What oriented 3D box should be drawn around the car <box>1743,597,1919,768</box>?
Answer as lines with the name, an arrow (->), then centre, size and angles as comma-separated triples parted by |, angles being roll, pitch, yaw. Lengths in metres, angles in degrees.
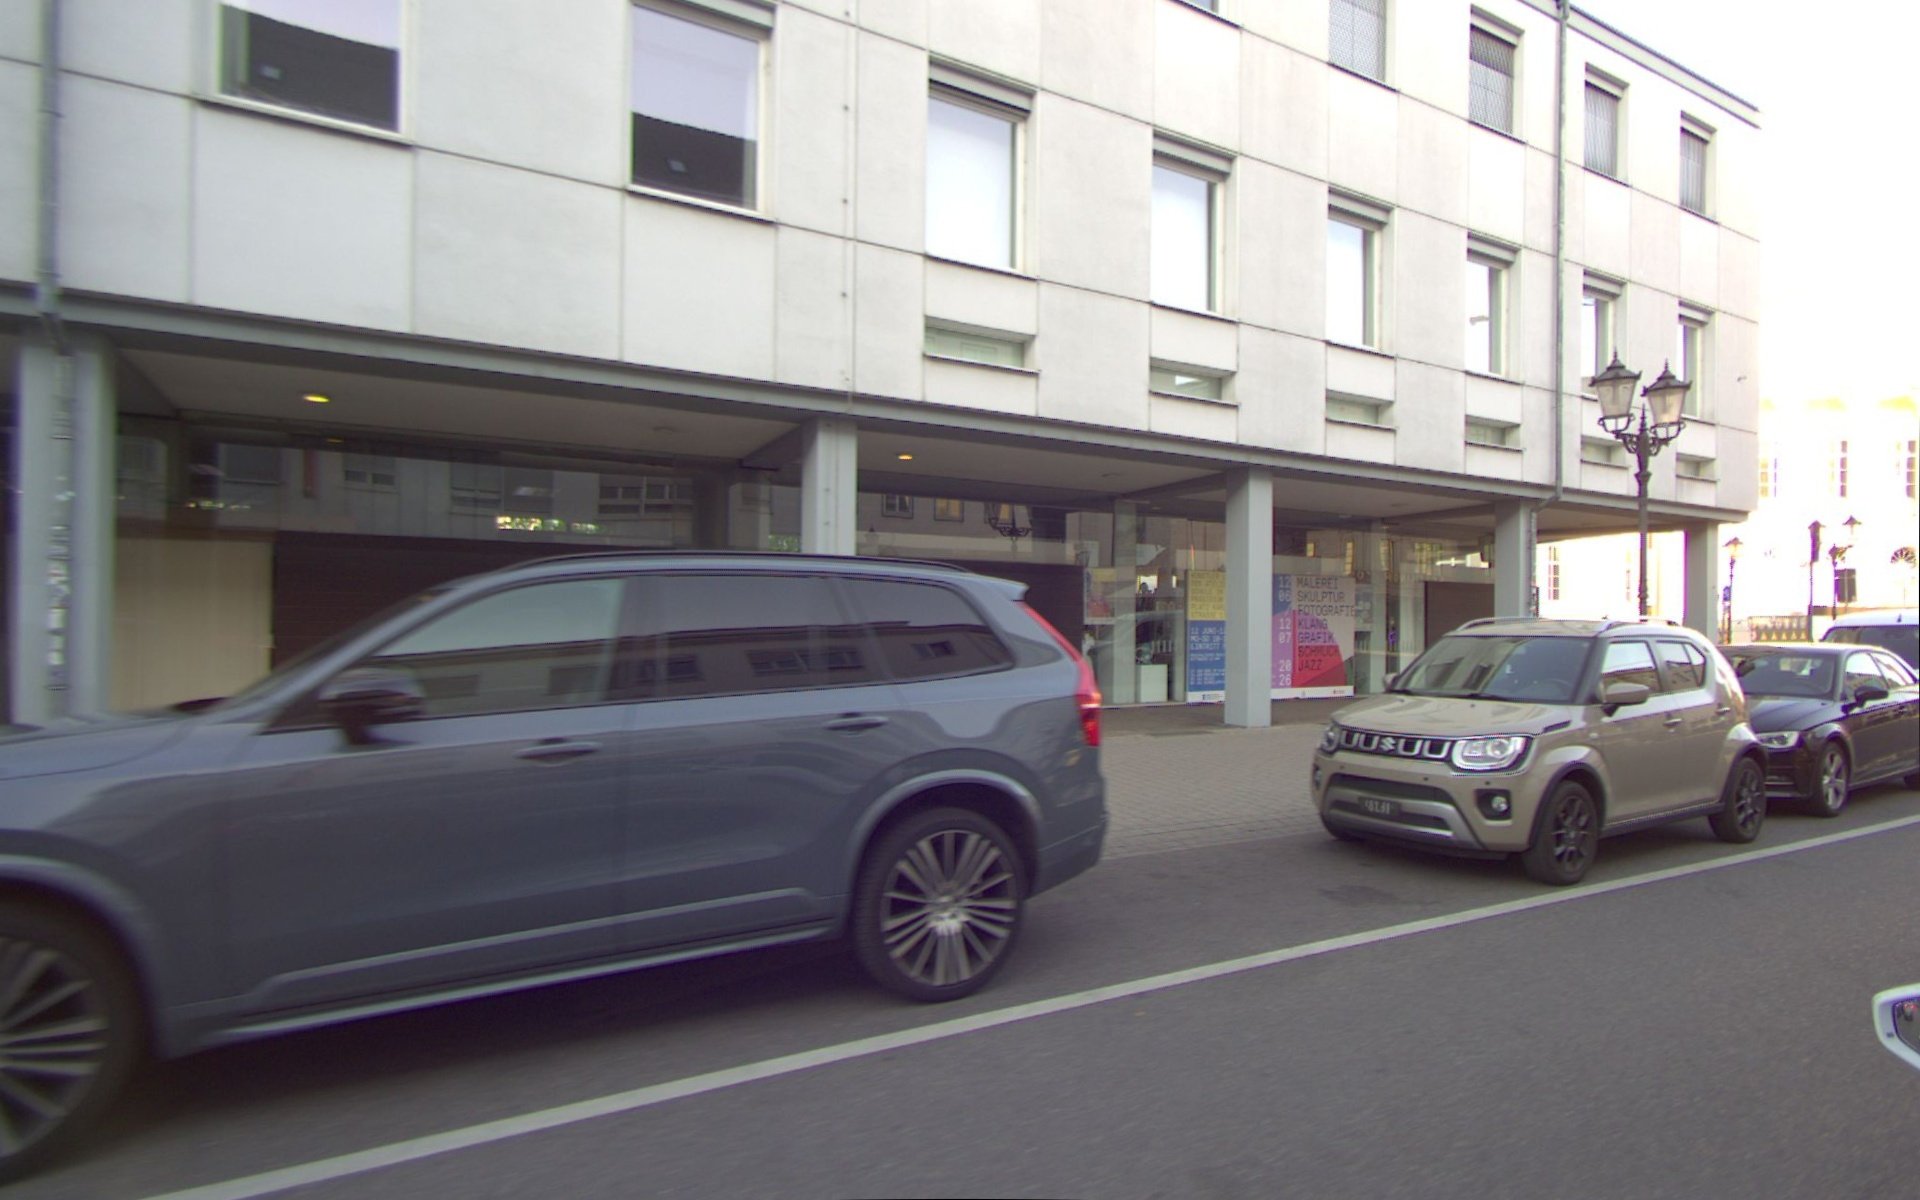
car -> 11.921, 0.931, 12.720 | 4.738, 1.840, 1.979 | 1, -1, -37

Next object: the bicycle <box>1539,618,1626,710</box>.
bicycle -> 11.094, 1.116, 17.886 | 1.712, 1.560, 0.575 | 1, 0, -30

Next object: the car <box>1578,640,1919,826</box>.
car -> 7.830, 1.106, 9.598 | 4.060, 1.371, 1.669 | 1, -1, -32

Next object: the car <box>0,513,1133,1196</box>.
car -> -1.661, 0.708, 4.184 | 4.461, 1.751, 1.985 | 1, -2, -29

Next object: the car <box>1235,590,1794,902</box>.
car -> 4.133, 0.848, 7.370 | 3.957, 1.684, 1.982 | 1, -2, -33
